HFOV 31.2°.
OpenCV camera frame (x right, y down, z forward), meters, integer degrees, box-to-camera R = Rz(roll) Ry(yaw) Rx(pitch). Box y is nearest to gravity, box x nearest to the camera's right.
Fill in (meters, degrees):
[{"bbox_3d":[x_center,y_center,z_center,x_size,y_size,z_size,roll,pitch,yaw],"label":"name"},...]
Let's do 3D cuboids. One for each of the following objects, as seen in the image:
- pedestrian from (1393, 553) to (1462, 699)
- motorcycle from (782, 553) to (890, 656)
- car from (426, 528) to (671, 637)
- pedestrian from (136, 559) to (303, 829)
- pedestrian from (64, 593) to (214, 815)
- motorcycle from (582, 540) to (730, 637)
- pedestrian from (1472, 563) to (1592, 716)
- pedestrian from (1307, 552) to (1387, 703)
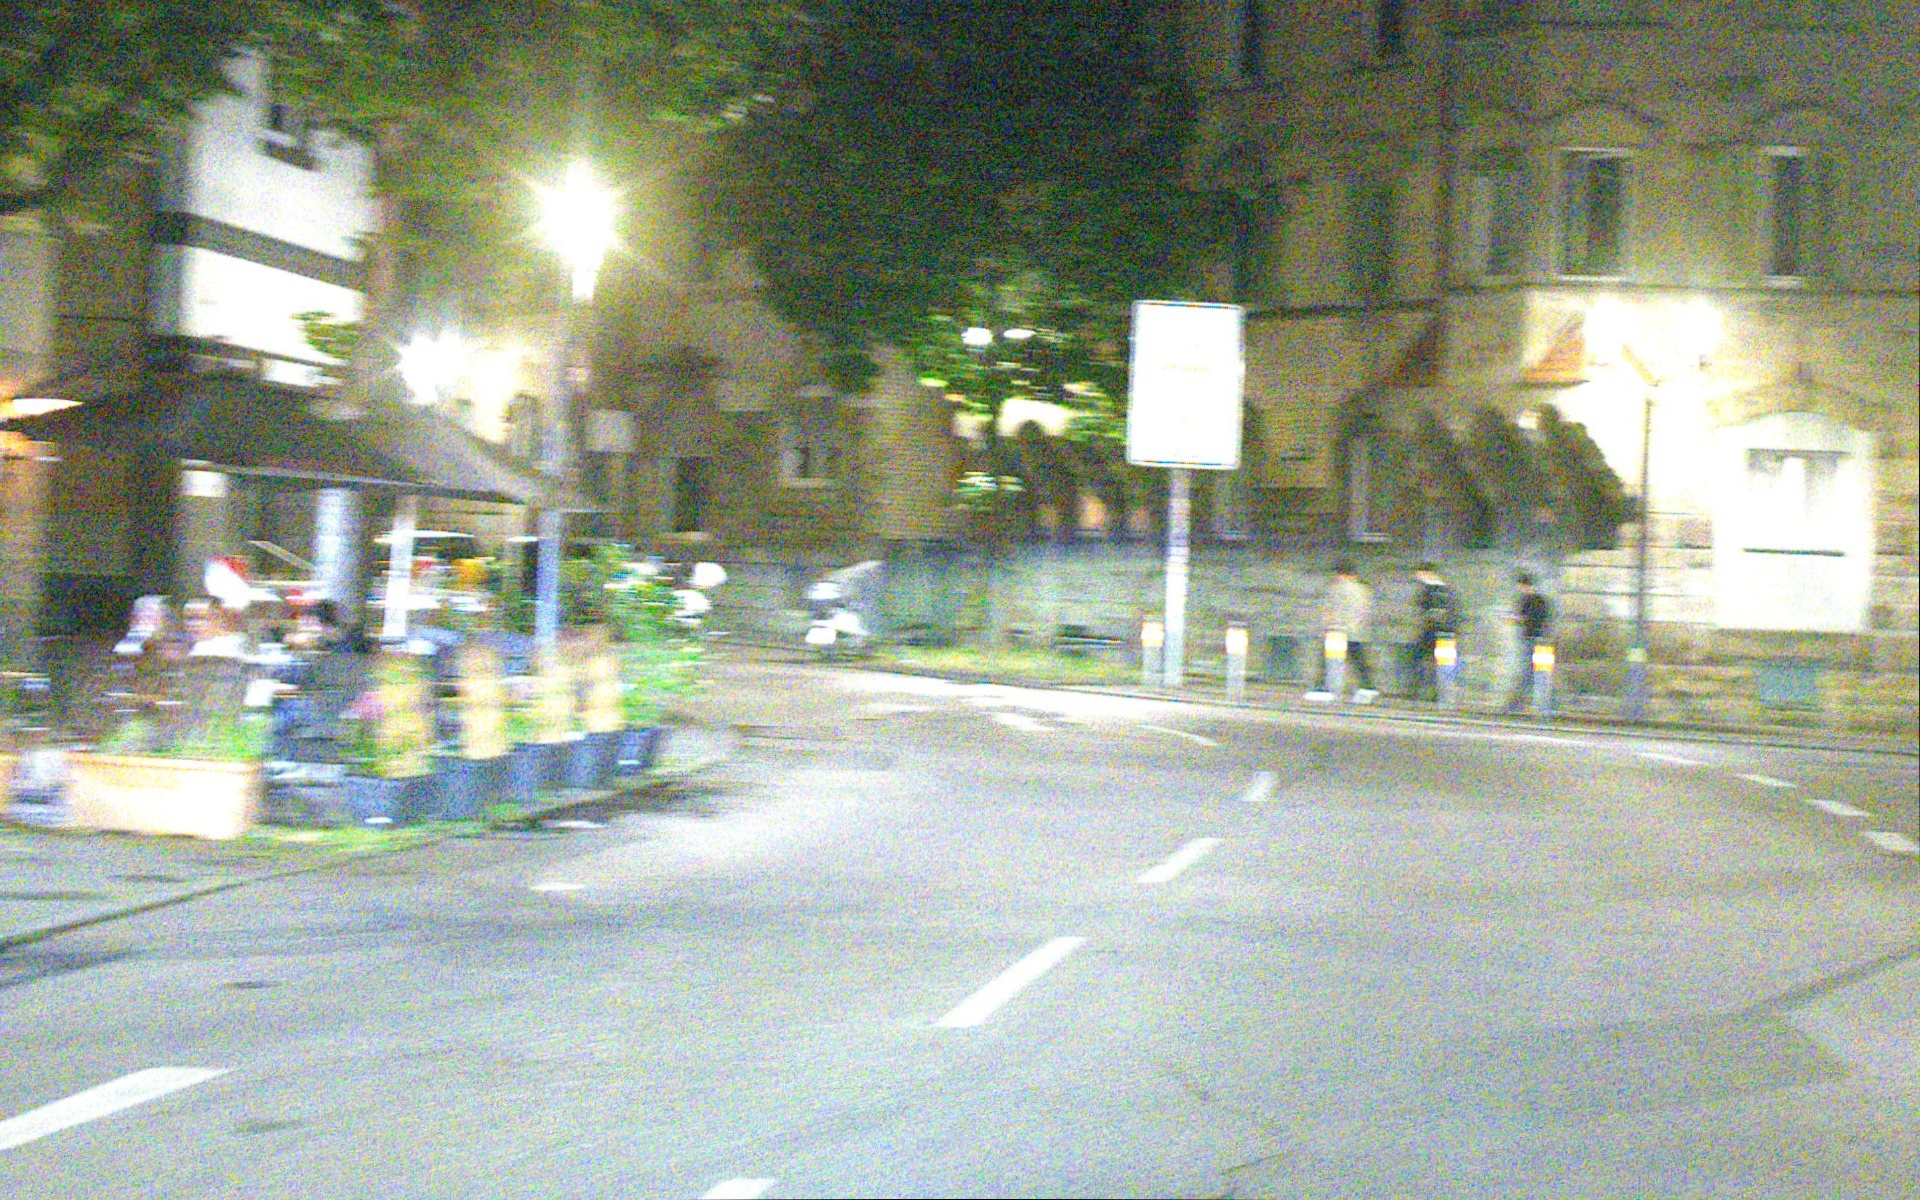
[{"bbox_3d":[5.571,0.309,40.993,0.476,1.703,0.571,2,1,-35],"label":"pedestrian"},{"bbox_3d":[-1.679,0.057,46.938,0.761,1.348,1.942,3,1,19],"label":"motorcycle"},{"bbox_3d":[-6.450,-0.290,53.515,1.732,1.496,4.467,2,1,-37],"label":"car"},{"bbox_3d":[-3.906,0.487,18.161,0.676,1.373,0.576,3,0,4],"label":"pedestrian"},{"bbox_3d":[-4.474,0.555,18.764,0.575,1.160,0.678,3,1,4],"label":"pedestrian"},{"bbox_3d":[-4.543,-0.178,51.398,2.054,1.401,0.924,0,3,-45],"label":"motorcycle"},{"bbox_3d":[6.343,0.438,38.121,0.965,1.625,0.808,3,0,36],"label":"pedestrian"},{"bbox_3d":[4.471,0.313,39.770,0.507,1.703,0.705,2,1,-35],"label":"pedestrian"}]
